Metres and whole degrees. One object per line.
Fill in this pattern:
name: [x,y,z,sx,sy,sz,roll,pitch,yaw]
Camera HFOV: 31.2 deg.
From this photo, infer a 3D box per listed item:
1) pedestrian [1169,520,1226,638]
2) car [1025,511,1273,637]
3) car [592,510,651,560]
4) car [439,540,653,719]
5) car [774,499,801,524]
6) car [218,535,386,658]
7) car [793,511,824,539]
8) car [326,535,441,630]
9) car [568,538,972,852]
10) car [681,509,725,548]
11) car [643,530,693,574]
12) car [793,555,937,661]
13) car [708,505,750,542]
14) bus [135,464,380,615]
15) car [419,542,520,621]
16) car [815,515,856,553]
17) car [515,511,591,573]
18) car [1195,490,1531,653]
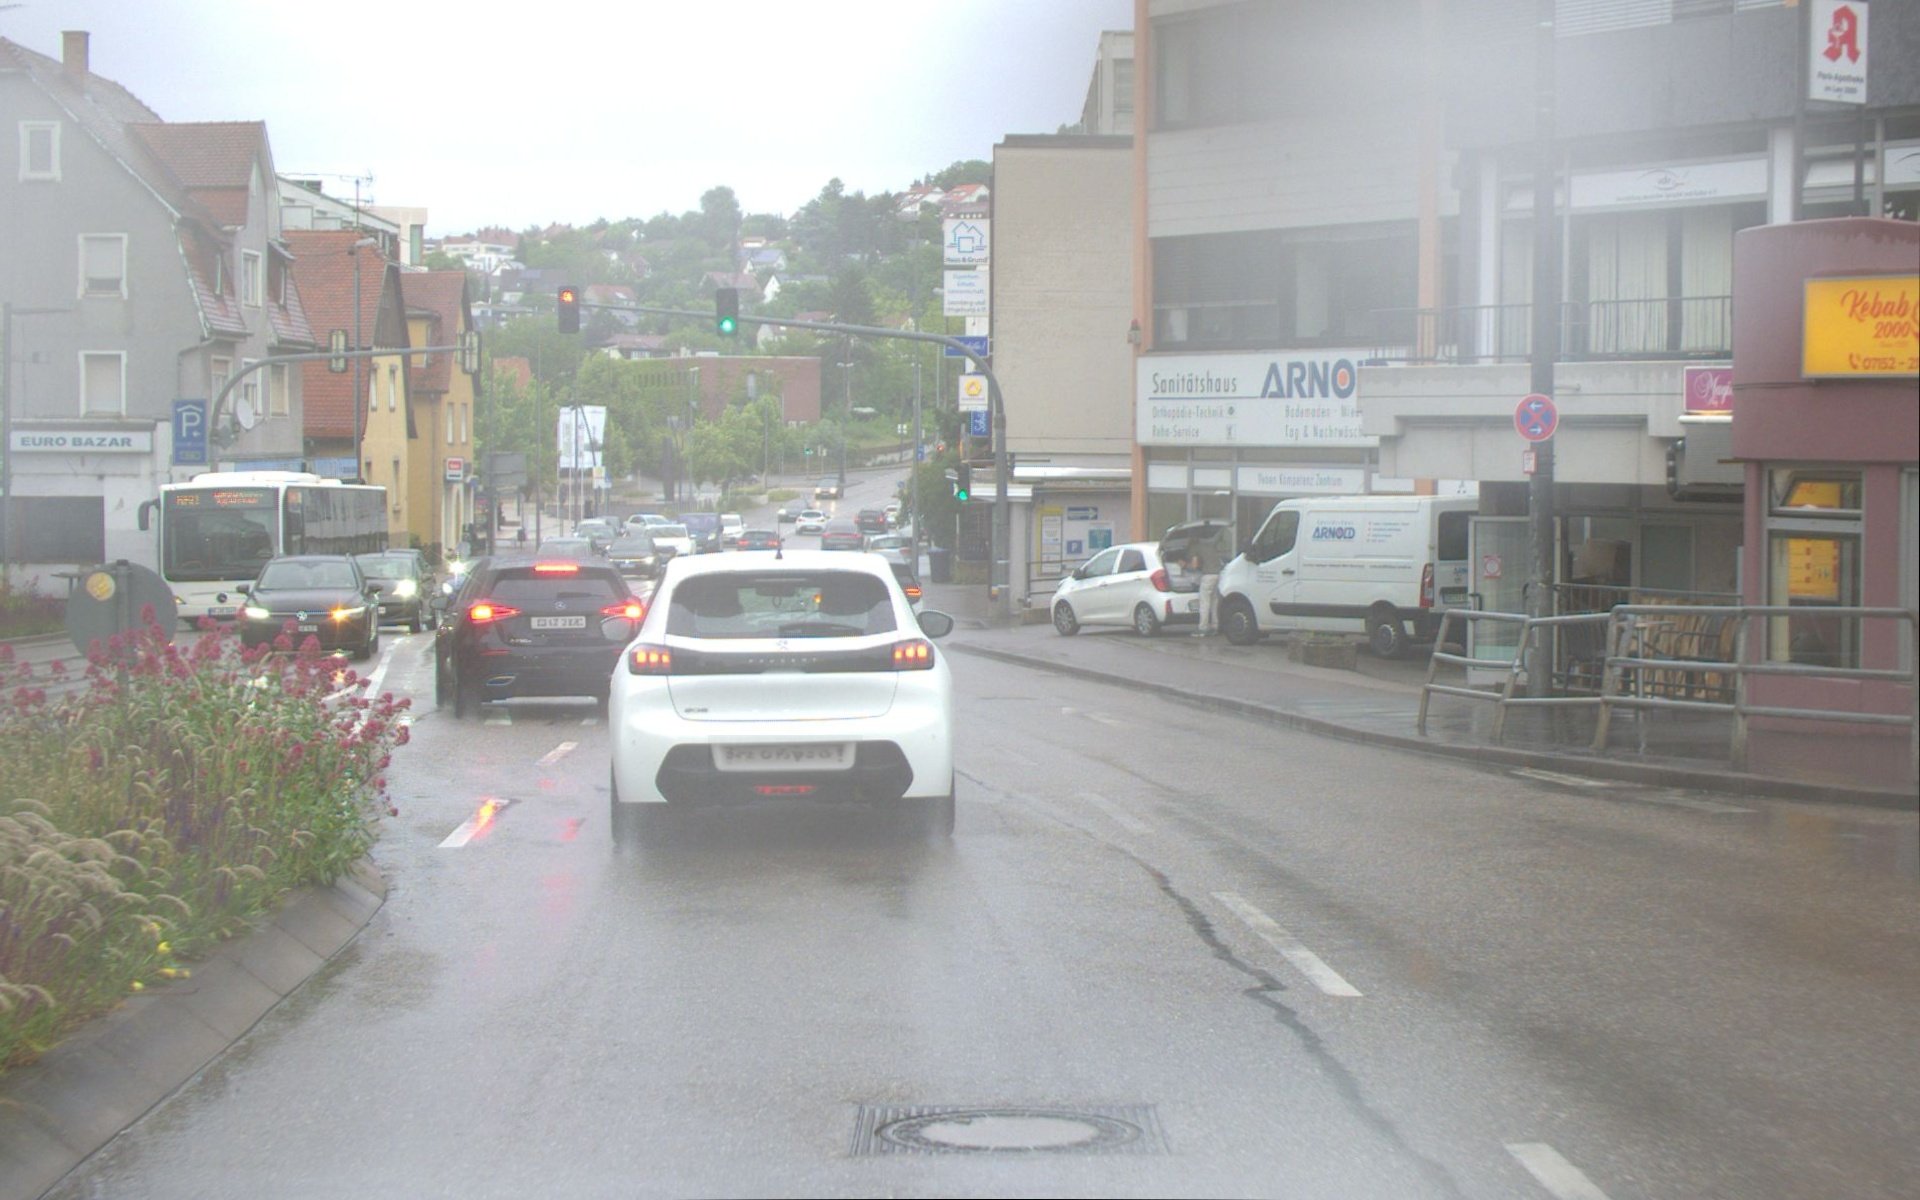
pedestrian: [3.722,-0.335,53.919,0.640,1.816,0.583,-2,2,-33]
car: [3.004,-0.461,55.420,1.885,1.872,4.135,-2,3,-33]
car: [-11.527,-2.227,117.122,1.746,1.549,4.001,-1,2,-2]
car: [-3.804,0.229,31.542,1.815,1.524,3.813,0,1,-7]
car: [-11.375,-5.856,226.984,1.746,1.549,4.001,-1,2,-2]
car: [-9.293,-0.084,48.796,1.892,1.549,4.001,-1,3,-5]
car: [-8.809,-4.378,200.060,1.746,1.549,4.001,-1,2,-2]
car: [-10.495,-0.342,62.787,1.815,1.549,4.001,-1,3,-6]
car: [-1.003,0.418,18.014,1.871,1.457,3.874,0,1,-3]
car: [-11.055,-3.080,147.893,1.746,1.549,4.001,-1,2,-2]
car: [-11.229,-1.875,132.423,1.746,1.549,4.001,-1,2,-2]
car: [-1.431,0.096,50.583,1.911,1.395,3.459,0,2,-5]
car: [-11.366,-3.779,169.654,1.786,1.678,4.001,1,3,0]
bus: [-14.138,-1.333,70.000,2.938,2.773,9.506,-1,3,0]
car: [-10.694,-0.434,75.177,1.815,1.549,4.001,-1,2,-3]
car: [-5.587,-2.972,153.761,1.746,1.549,4.001,-1,2,-2]
car: [-11.116,-1.599,94.035,1.746,1.549,4.001,-1,2,-2]
car: [5.828,-0.479,50.312,1.994,2.218,4.975,-3,3,-37]
